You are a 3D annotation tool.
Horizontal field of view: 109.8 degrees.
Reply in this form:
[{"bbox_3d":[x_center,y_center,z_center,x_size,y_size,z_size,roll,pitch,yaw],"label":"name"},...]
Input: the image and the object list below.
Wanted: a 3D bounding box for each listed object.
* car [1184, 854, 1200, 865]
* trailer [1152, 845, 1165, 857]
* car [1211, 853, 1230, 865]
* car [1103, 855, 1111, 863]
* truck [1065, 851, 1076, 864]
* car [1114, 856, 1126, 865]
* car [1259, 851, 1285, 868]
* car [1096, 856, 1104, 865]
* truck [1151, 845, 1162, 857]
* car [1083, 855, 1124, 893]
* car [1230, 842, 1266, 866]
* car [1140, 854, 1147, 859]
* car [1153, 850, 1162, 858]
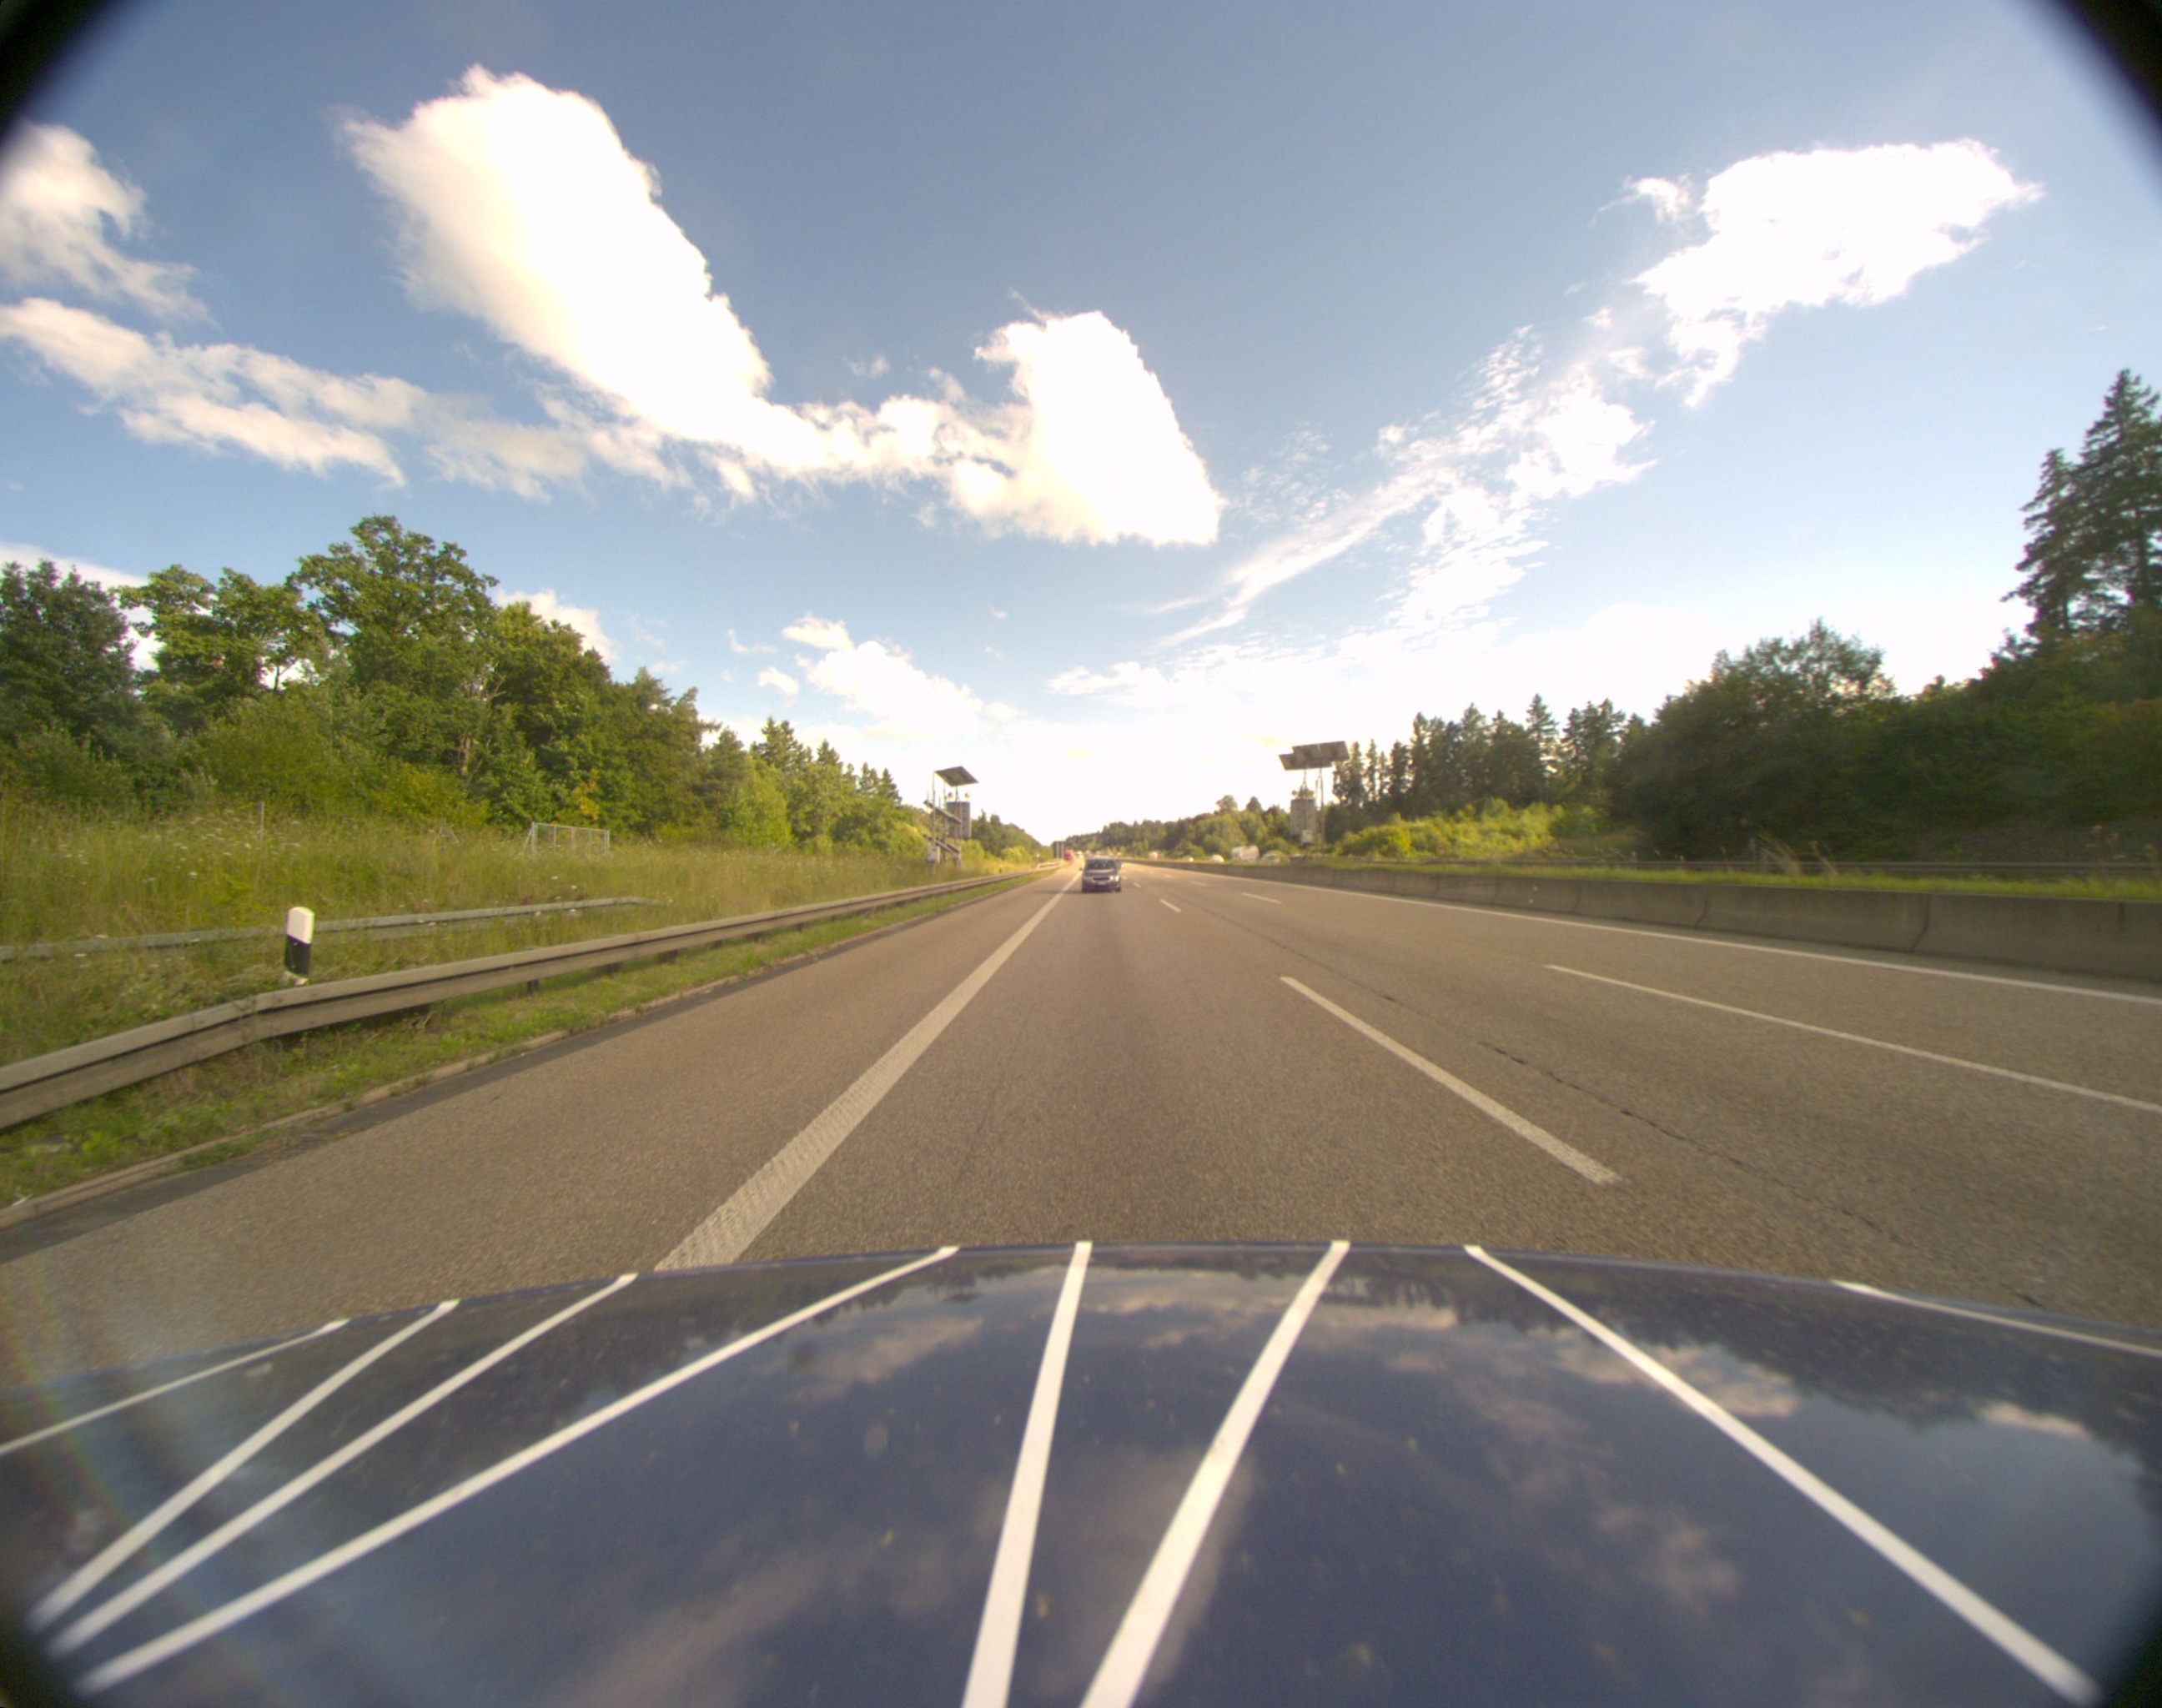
[{"bbox_3d":[23.158,1.127,158.940,2.585,2.126,5.966,-2,0,2],"label":"car"},{"bbox_3d":[25.737,-0.955,253.163,3.131,3.815,12.209,-1,0,1],"label":"trailer"},{"bbox_3d":[25.830,0.892,140.918,2.585,2.126,5.966,-2,0,2],"label":"car"},{"bbox_3d":[7.271,1.440,209.727,1.998,2.002,4.000,-2,0,1],"label":"car"},{"bbox_3d":[-3.345,0.992,239.146,2.880,3.871,8.959,-2,0,1],"label":"truck"},{"bbox_3d":[5.958,0.990,115.929,1.748,1.276,4.199,-2,0,2],"label":"car"},{"bbox_3d":[21.441,0.644,85.418,1.929,1.795,4.493,-2,0,2],"label":"car"},{"bbox_3d":[4.447,1.464,178.264,1.998,2.124,4.000,-2,0,1],"label":"car"},{"bbox_3d":[25.897,-0.998,260.847,3.122,3.815,7.123,-1,0,1],"label":"truck"},{"bbox_3d":[1.055,0.887,34.970,1.742,1.608,4.083,-2,0,2],"label":"car"},{"bbox_3d":[17.689,-0.020,80.749,2.585,2.332,5.829,-2,0,2],"label":"car"},{"bbox_3d":[19.528,0.829,237.034,1.998,1.444,4.000,-2,0,2],"label":"car"},{"bbox_3d":[23.510,-0.055,232.830,2.114,2.299,6.724,-2,0,1],"label":"car"}]
